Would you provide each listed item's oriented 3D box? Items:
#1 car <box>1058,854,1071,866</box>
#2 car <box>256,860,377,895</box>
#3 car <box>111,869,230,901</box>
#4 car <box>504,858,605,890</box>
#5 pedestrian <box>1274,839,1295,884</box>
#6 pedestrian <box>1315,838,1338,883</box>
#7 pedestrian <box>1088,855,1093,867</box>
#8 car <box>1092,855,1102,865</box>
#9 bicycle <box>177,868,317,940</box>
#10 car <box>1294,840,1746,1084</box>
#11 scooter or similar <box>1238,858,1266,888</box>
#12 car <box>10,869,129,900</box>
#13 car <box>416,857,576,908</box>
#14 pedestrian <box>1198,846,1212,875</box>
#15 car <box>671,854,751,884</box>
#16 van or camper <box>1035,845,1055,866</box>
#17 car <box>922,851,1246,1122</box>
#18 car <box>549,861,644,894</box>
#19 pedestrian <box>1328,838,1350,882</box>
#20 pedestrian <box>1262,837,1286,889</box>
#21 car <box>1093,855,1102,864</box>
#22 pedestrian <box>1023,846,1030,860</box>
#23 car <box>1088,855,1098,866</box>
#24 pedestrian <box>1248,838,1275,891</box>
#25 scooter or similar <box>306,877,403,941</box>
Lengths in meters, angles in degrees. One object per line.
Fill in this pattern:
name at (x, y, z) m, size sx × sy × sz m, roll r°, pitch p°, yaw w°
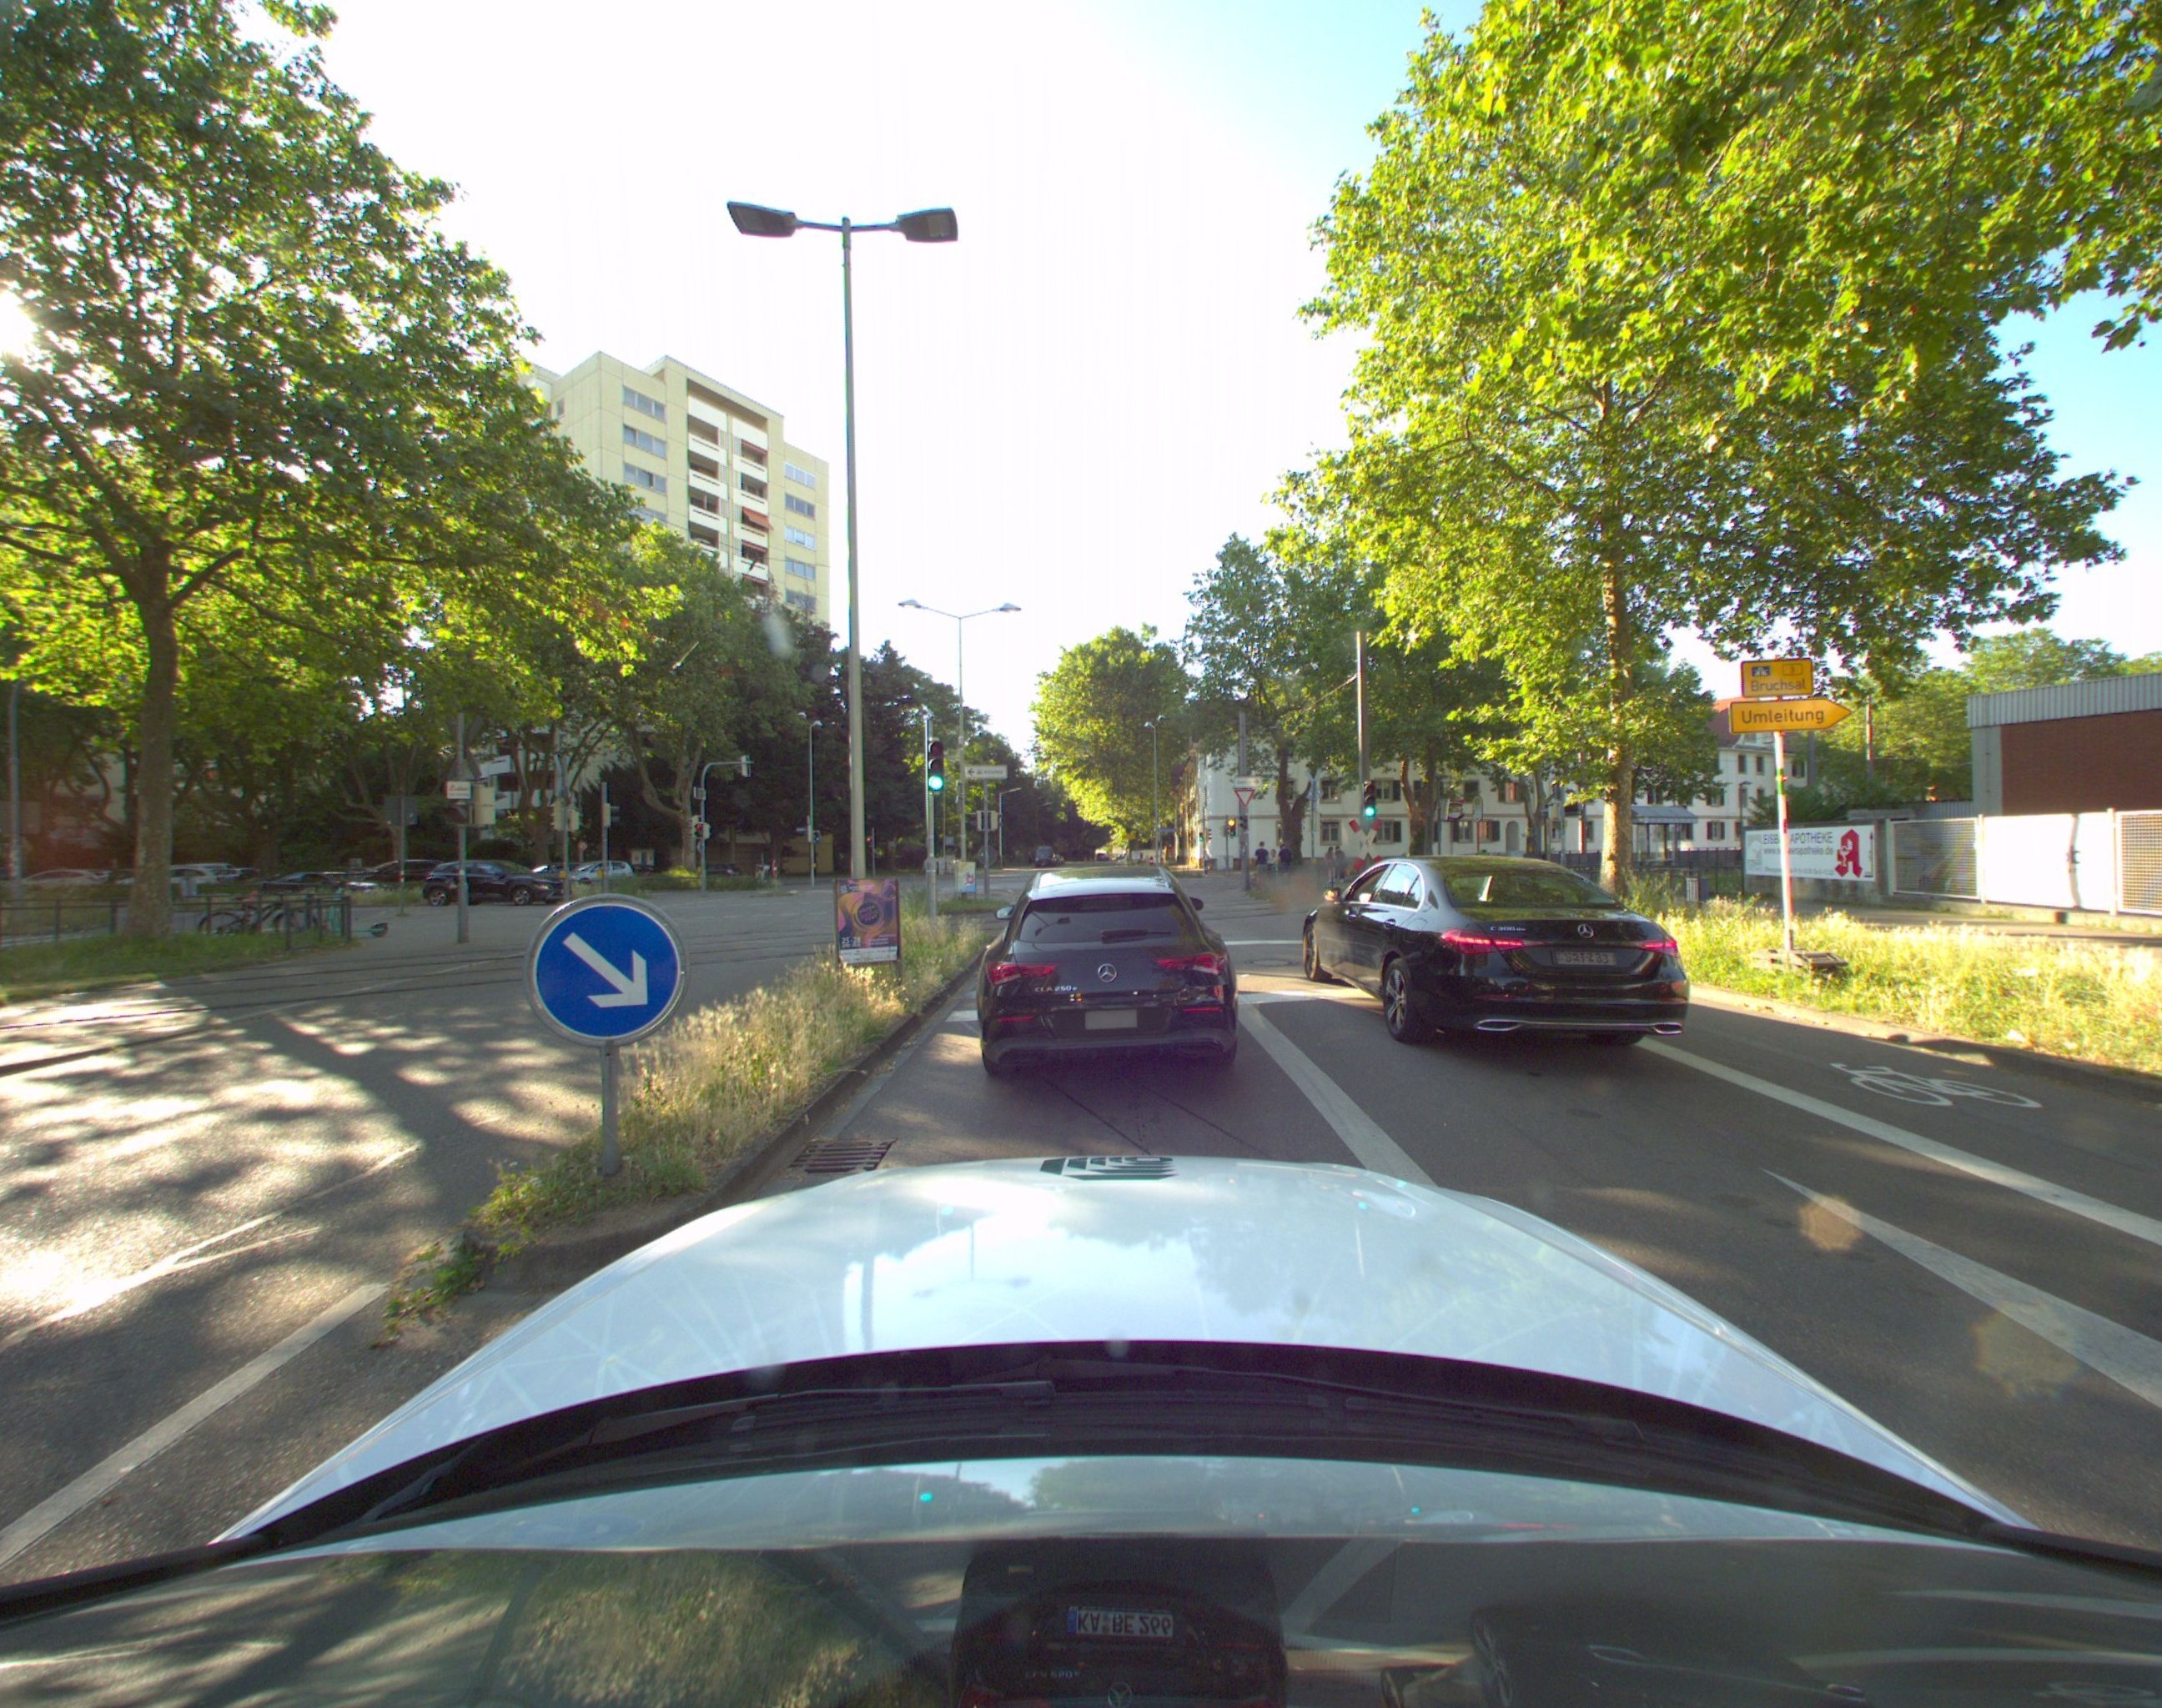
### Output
car at (-2.518, 0.959, 126.646) m, size 1.727 × 1.765 × 3.972 m, roll 0°, pitch -1°, yaw 2°
car at (-37.420, 1.113, 39.971) m, size 1.716 × 1.596 × 4.025 m, roll -1°, pitch -1°, yaw 32°
car at (-49.165, 1.616, 44.043) m, size 1.716 × 1.596 × 4.025 m, roll -1°, pitch -1°, yaw 32°
car at (-27.141, 1.006, 42.081) m, size 1.716 × 1.596 × 4.025 m, roll -1°, pitch -1°, yaw 32°
pedestrian at (8.943, 0.324, 35.785) m, size 0.703 × 1.918 × 0.838 m, roll 0°, pitch -1°, yaw -2°
pedestrian at (10.717, 0.293, 35.528) m, size 0.703 × 1.918 × 0.838 m, roll 0°, pitch -1°, yaw -2°
pedestrian at (1.538, 1.187, 130.169) m, size 0.704 × 1.918 × 0.837 m, roll 0°, pitch -1°, yaw -8°
car at (2.916, 1.138, 150.510) m, size 1.727 × 1.765 × 4.020 m, roll 0°, pitch -1°, yaw 2°
bicycle at (-15.959, 0.932, 15.640) m, size 1.845 × 1.307 × 0.380 m, roll 0°, pitch -1°, yaw -26°
car at (3.359, 0.655, 7.384) m, size 1.882 × 1.490 × 4.384 m, roll 0°, pitch 2°, yaw 2°
scooter or similar at (6.430, 0.716, 30.687) m, size 0.826 × 1.104 × 0.808 m, roll 0°, pitch -1°, yaw -4°
car at (-57.106, 1.694, 46.046) m, size 1.716 × 1.596 × 4.025 m, roll -1°, pitch -1°, yaw 32°
car at (-19.465, 0.920, 27.251) m, size 3.981 × 1.596 × 1.735 m, roll 0°, pitch -1°, yaw -5°
pedestrian at (8.160, 0.419, 53.627) m, size 0.703 × 1.918 × 0.838 m, roll 0°, pitch -1°, yaw -2°
car at (-22.644, 0.894, 49.894) m, size 3.963 × 1.774 × 2.005 m, roll -1°, pitch -1°, yaw 9°
van or camper at (-4.420, 0.231, 100.021) m, size 1.986 × 2.541 × 4.653 m, roll 0°, pitch -1°, yaw 2°
car at (0.127, 0.768, 6.749) m, size 1.881 × 1.450 × 4.004 m, roll 0°, pitch 2°, yaw 3°
car at (-24.928, 1.160, 41.997) m, size 1.716 × 1.596 × 3.831 m, roll -1°, pitch -1°, yaw 32°
pedestrian at (11.568, 0.266, 36.509) m, size 0.703 × 1.918 × 0.838 m, roll 0°, pitch -1°, yaw -2°
pedestrian at (7.246, 0.324, 30.611) m, size 0.681 × 1.918 × 0.707 m, roll 0°, pitch -1°, yaw -2°
car at (3.248, 1.068, 158.592) m, size 1.727 × 1.765 × 4.020 m, roll 0°, pitch -1°, yaw 2°
pedestrian at (-7.246, -0.100, 108.693) m, size 0.701 × 1.918 × 0.841 m, roll 0°, pitch -1°, yaw 7°
car at (2.104, 1.161, 145.705) m, size 1.727 × 1.765 × 4.020 m, roll 0°, pitch -1°, yaw 2°
pedestrian at (6.602, 0.374, 29.794) m, size 0.706 × 1.918 × 0.682 m, roll 0°, pitch -1°, yaw -13°
scooter or similar at (-15.099, 1.115, 16.953) m, size 0.408 × 1.239 × 1.450 m, roll -1°, pitch -1°, yaw 40°
